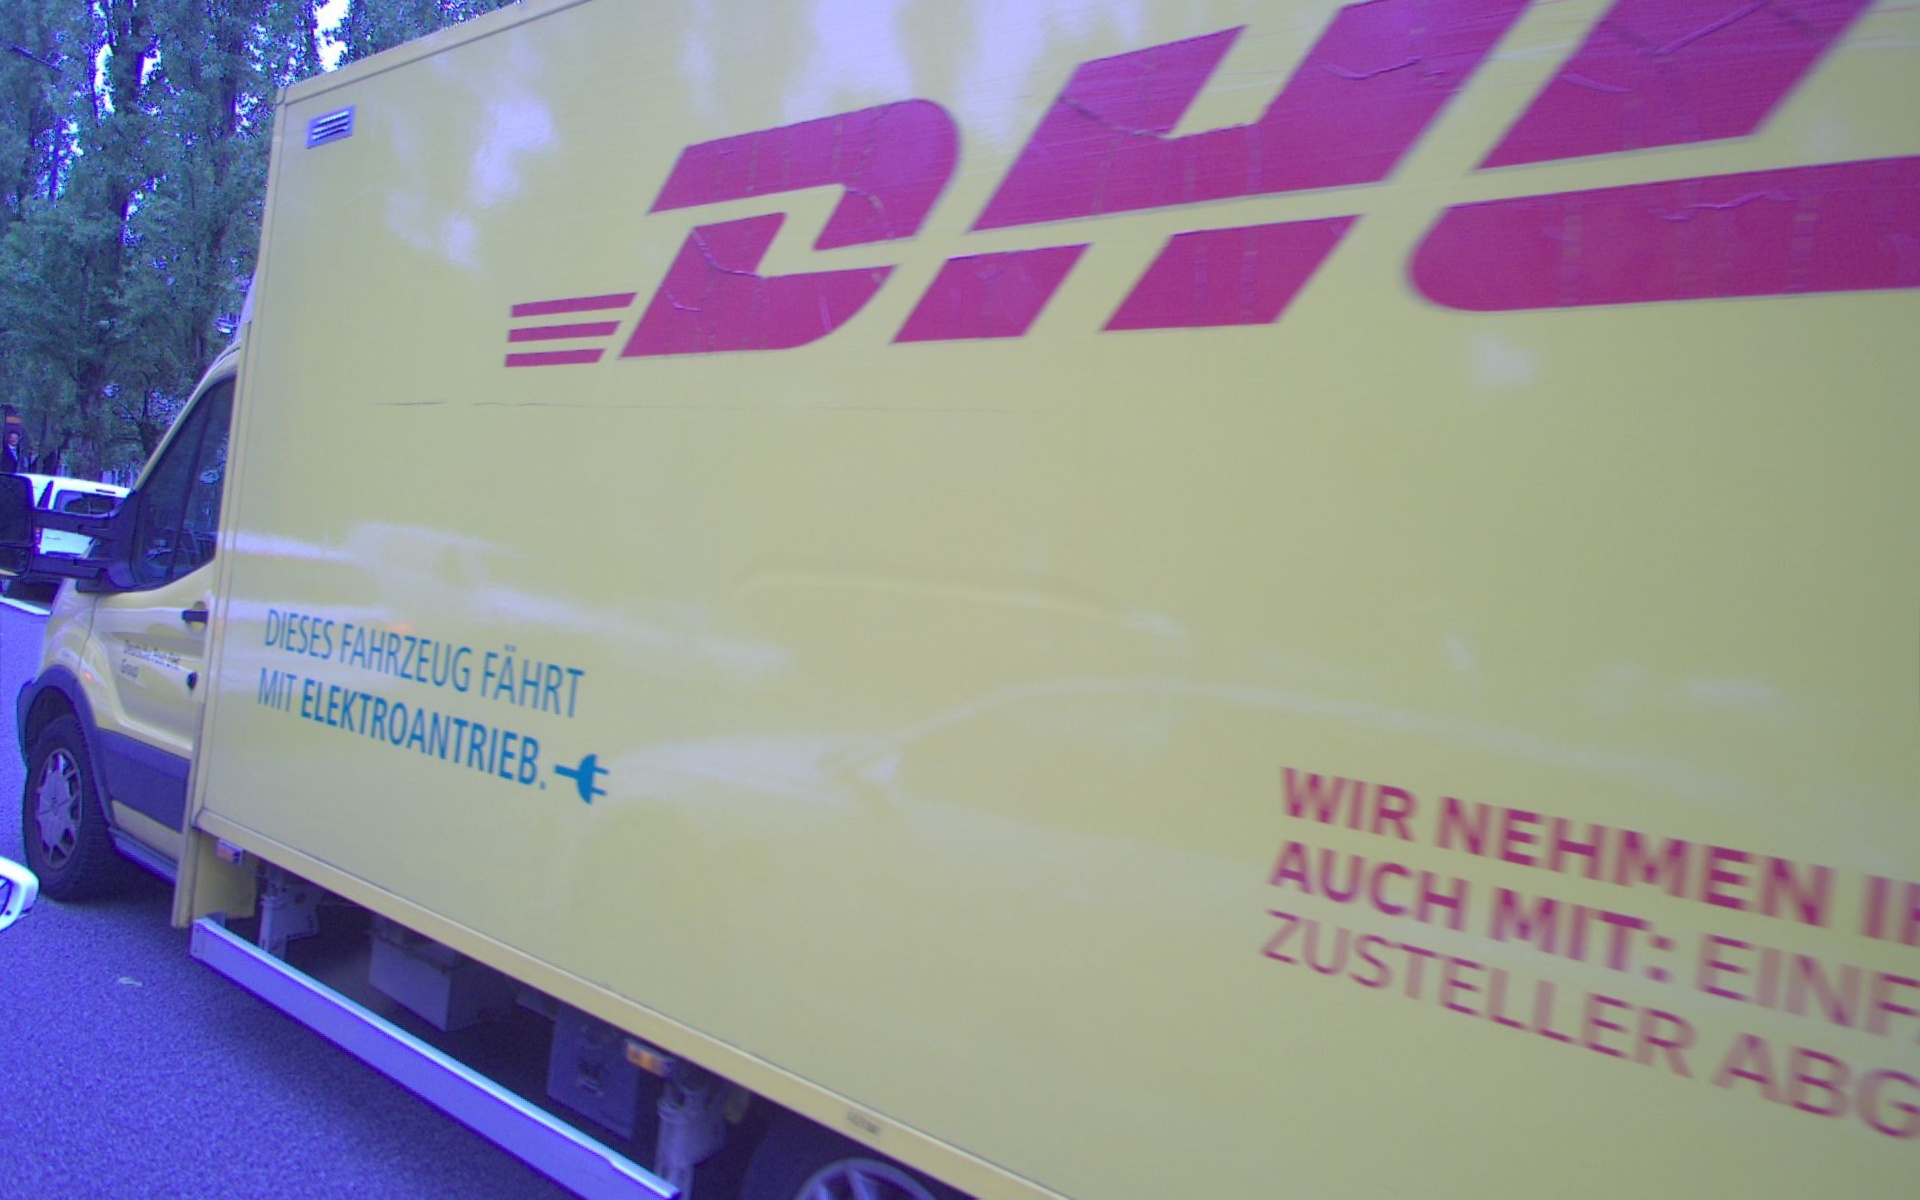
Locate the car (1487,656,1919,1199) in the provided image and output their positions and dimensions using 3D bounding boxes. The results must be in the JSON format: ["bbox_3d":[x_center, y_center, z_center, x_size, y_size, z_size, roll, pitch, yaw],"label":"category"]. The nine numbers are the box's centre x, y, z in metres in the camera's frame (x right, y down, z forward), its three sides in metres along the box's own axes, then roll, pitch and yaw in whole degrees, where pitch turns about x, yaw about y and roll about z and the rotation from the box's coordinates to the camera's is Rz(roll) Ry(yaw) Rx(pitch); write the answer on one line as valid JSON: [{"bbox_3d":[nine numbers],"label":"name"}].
[{"bbox_3d":[4.123,1.292,3.188,4.079,1.599,1.784,7,-2,33],"label":"car"}]

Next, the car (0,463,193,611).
[{"bbox_3d":[-13.912,-1.034,15.490,4.160,1.793,1.837,7,-2,32],"label":"car"}]

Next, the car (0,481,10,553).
[{"bbox_3d":[-19.901,-1.671,19.122,4.021,1.614,1.680,7,-2,33],"label":"car"}]

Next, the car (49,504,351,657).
[{"bbox_3d":[-9.480,-0.272,12.470,3.936,1.370,1.748,7,-1,35],"label":"car"}]

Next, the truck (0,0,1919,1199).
[{"bbox_3d":[-0.618,-0.016,3.318,7.211,2.933,2.330,7,0,32],"label":"truck"}]
